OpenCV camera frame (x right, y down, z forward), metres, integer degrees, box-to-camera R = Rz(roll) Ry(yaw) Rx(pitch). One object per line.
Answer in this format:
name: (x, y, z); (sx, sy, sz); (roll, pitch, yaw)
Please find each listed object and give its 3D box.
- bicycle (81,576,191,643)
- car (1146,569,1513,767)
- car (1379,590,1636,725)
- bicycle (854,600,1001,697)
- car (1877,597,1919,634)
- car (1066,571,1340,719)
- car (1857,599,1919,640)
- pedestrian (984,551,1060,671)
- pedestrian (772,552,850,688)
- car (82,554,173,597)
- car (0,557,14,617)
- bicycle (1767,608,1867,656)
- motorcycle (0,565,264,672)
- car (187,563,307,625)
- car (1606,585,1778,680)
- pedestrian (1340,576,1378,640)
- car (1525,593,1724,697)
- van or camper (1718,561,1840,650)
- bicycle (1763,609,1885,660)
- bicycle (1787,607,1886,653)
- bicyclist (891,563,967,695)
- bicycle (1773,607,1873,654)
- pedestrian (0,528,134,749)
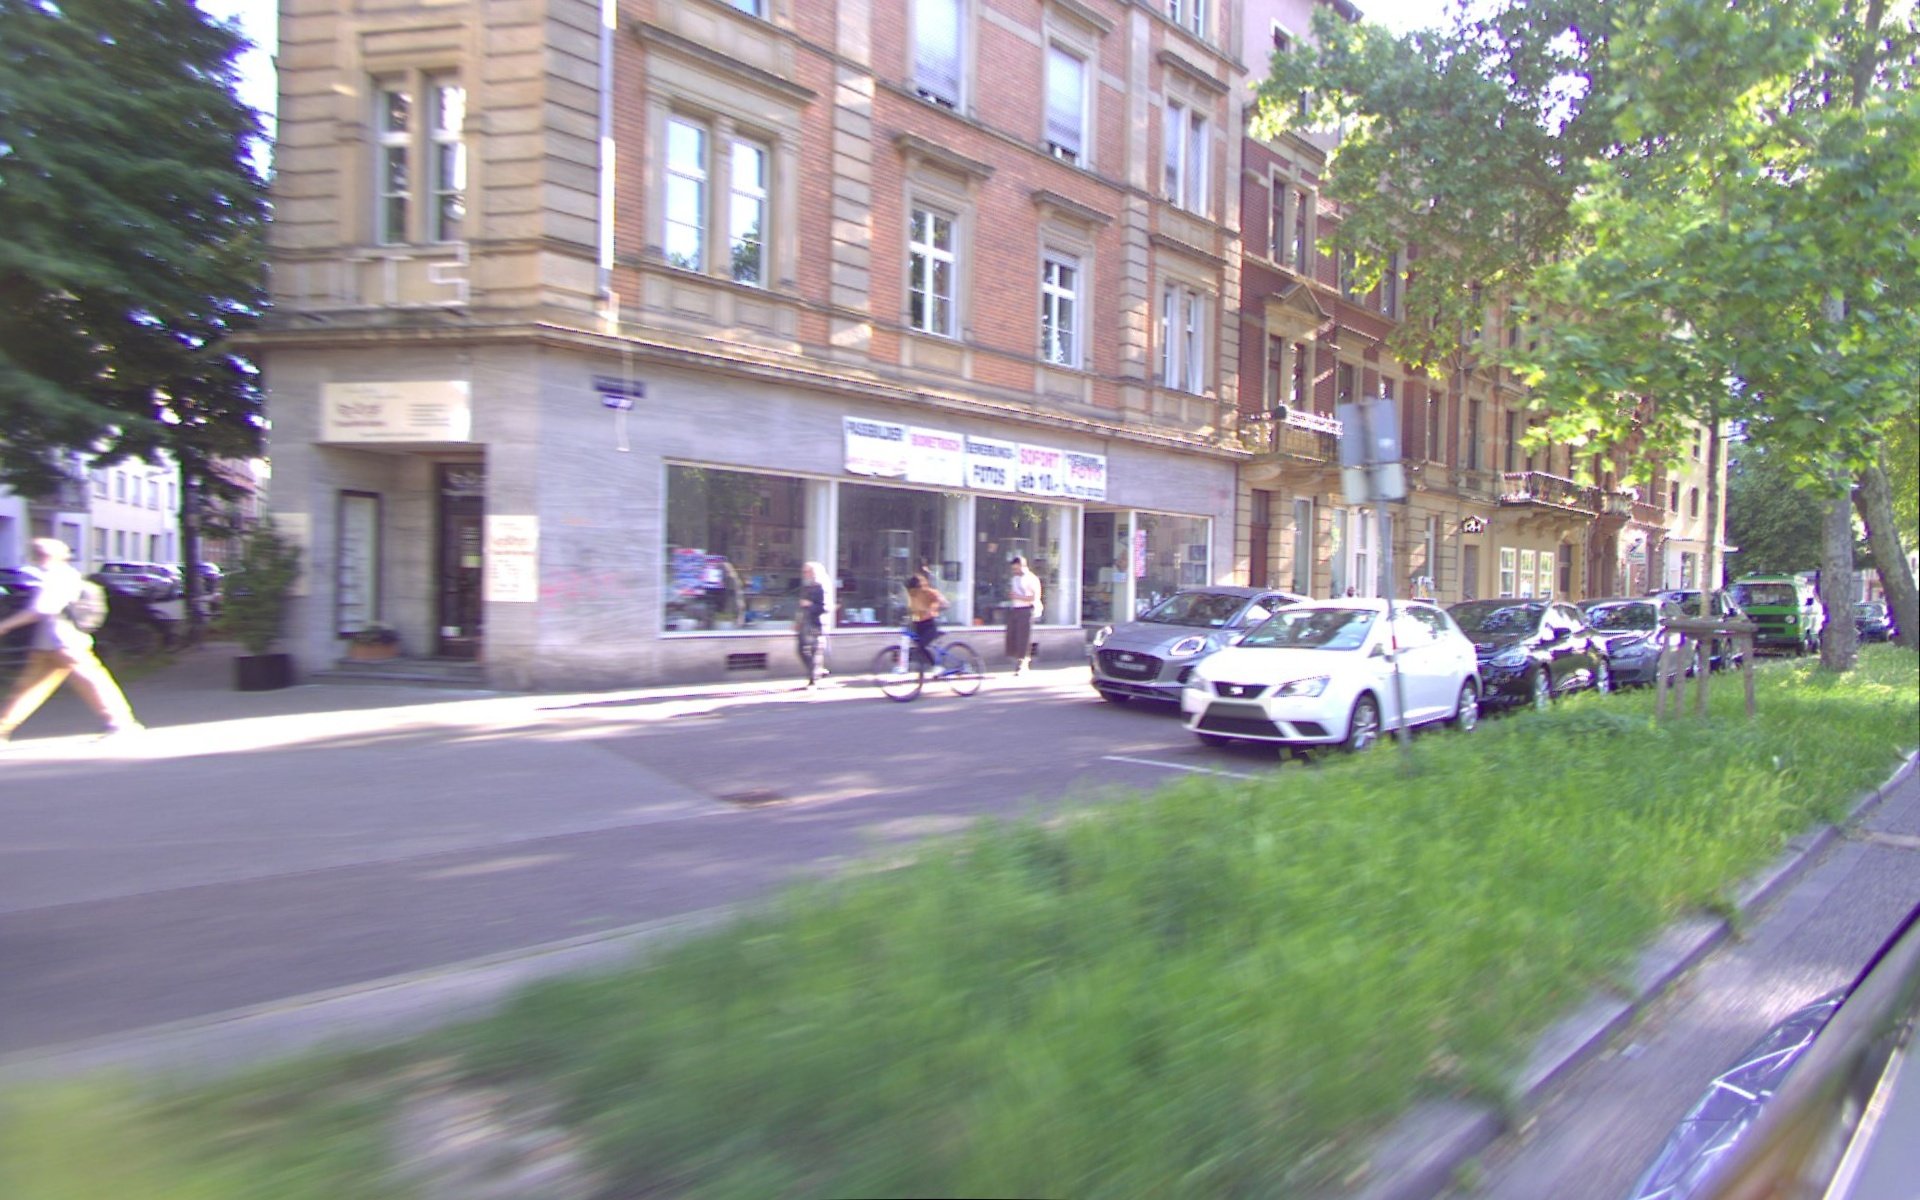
bicycle: (-15.952, 0.164, 19.606); (1.804, 1.217, 0.611); (2, 1, 10)
car: (3.837, 0.563, 10.165); (4.113, 1.592, 1.755); (0, -1, -42)
car: (7.387, 0.668, 13.484); (4.113, 1.516, 1.755); (0, -1, -42)
bicycle: (-0.390, 0.582, 12.977); (1.866, 1.141, 0.671); (0, 1, -41)
car: (42.108, 0.700, 44.876); (4.187, 1.549, 1.698); (2, 1, -42)
car: (3.337, 0.474, 13.384); (1.753, 1.598, 4.121); (3, 2, 42)
car: (37.810, 0.807, 40.936); (4.501, 1.526, 1.698); (2, 1, -41)
pedestrian: (0.969, 0.157, 15.752); (0.941, 1.810, 0.693); (0, 1, -41)
pedestrian: (-1.952, 0.242, 13.230); (0.739, 1.705, 0.693); (0, 1, -41)
car: (-32.481, -0.955, 39.613); (1.959, 1.549, 4.286); (1, 1, -29)
car: (-24.791, -0.307, 24.326); (1.959, 1.549, 4.286); (1, 1, -29)
bicycle: (24.908, 0.901, 29.481); (2.160, 1.310, 0.969); (1, 0, 39)
motorcycle: (-13.605, 0.237, 16.712); (1.097, 1.535, 3.726); (2, 1, 12)
car: (-19.414, -0.207, 27.750); (1.946, 1.557, 4.116); (1, 1, -25)
car: (14.595, 0.590, 20.073); (4.719, 1.668, 1.892); (0, -1, -43)
pedestrian: (10.086, 0.197, 25.570); (0.682, 1.566, 0.648); (0, 1, -43)
car: (10.926, 0.663, 16.520); (4.291, 1.483, 1.738); (0, -1, -43)
van or camper: (21.458, 0.140, 26.444); (4.694, 2.125, 1.835); (0, -1, -44)
bicycle: (24.134, 0.928, 28.309); (2.547, 1.310, 0.959); (1, 0, 43)
bicycle: (26.789, 0.893, 30.966); (0.965, 1.310, 2.169); (1, 0, -39)
bicyclist: (-0.397, 0.348, 12.960); (0.686, 1.635, 0.660); (0, 1, -41)
bicycle: (25.849, 0.892, 30.326); (0.966, 1.310, 2.168); (1, 0, -41)
pedestrian: (-7.704, 0.299, 8.575); (1.061, 1.777, 0.693); (1, 1, -41)
